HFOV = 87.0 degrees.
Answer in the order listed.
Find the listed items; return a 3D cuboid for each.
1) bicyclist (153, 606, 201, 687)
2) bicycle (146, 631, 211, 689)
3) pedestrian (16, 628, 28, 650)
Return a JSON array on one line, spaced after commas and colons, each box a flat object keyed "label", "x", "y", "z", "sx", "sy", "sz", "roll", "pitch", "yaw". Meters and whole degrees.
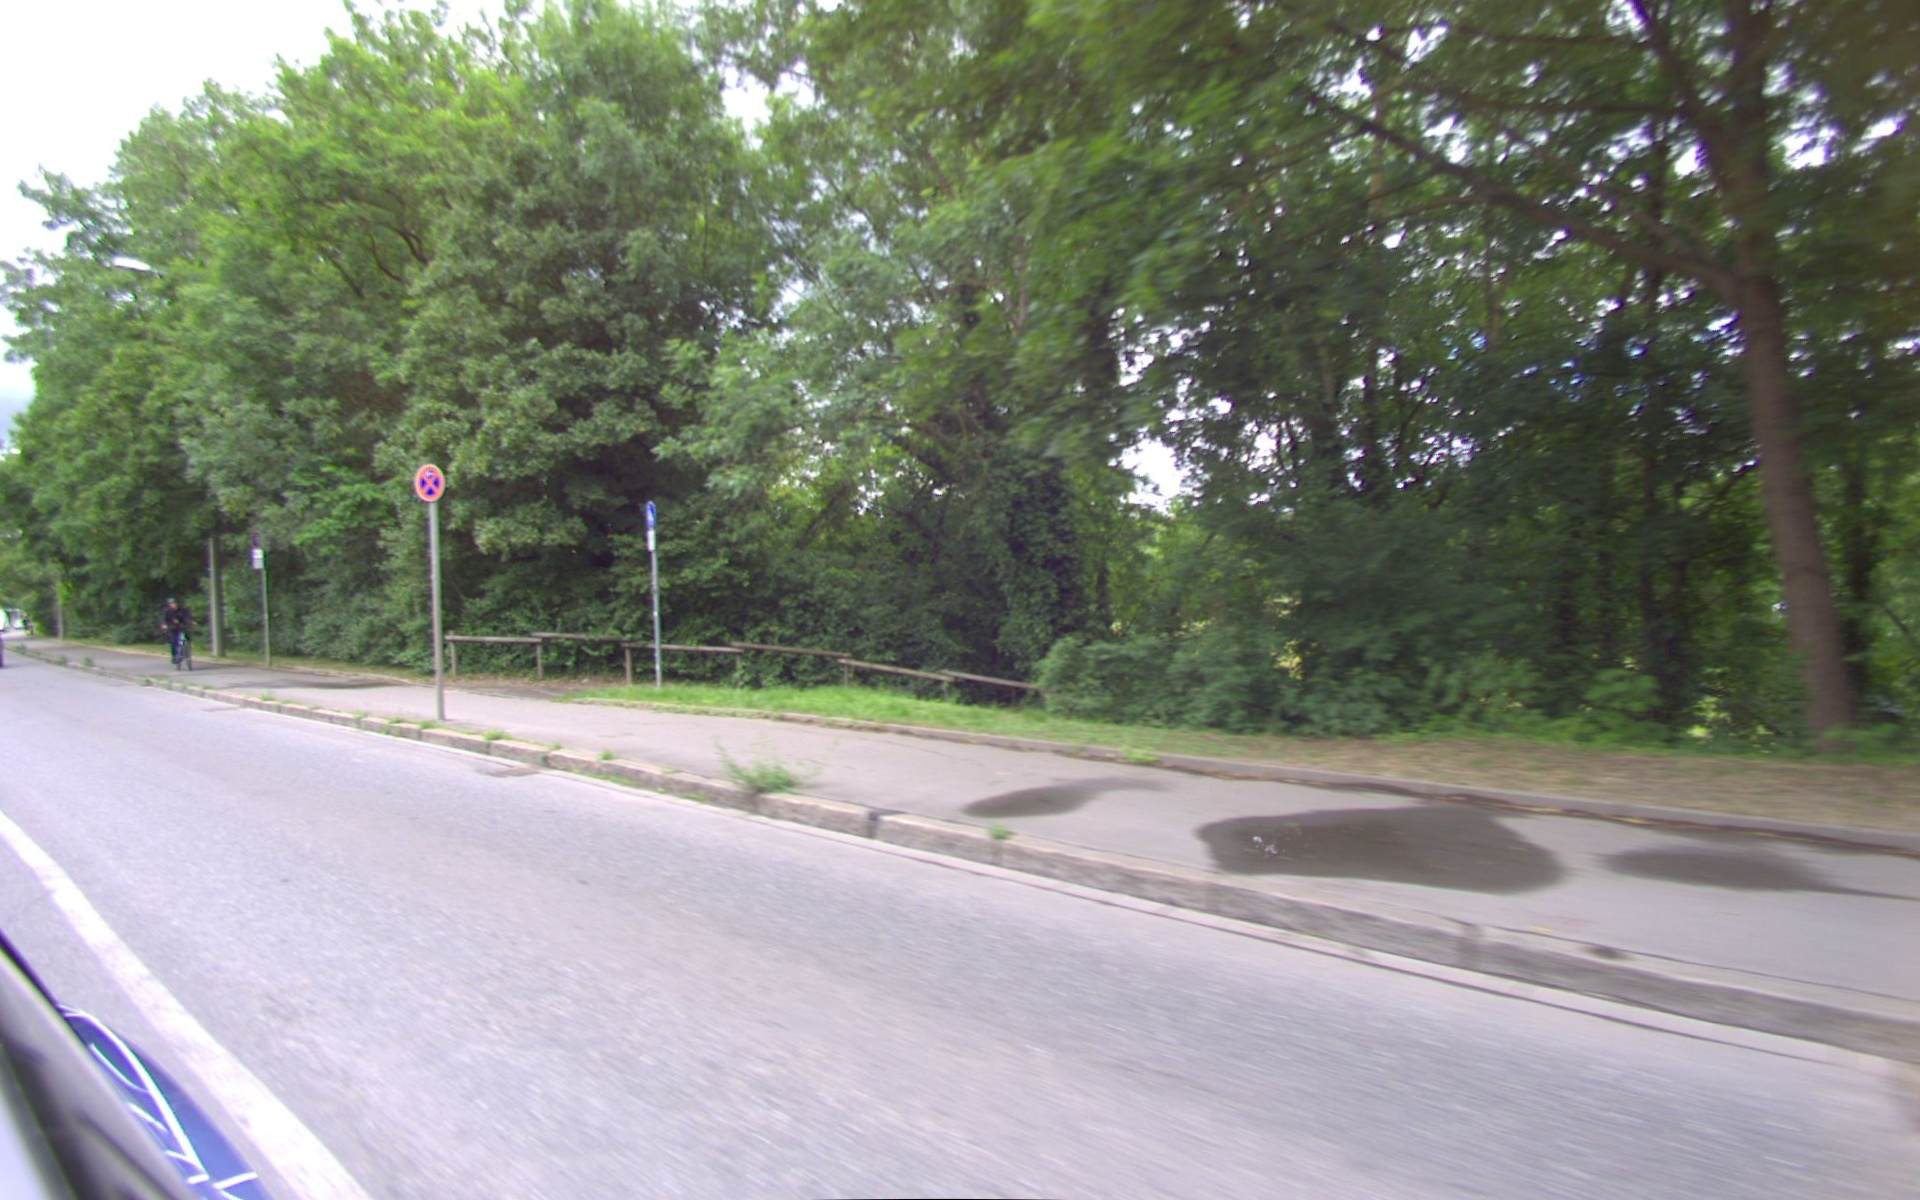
[{"label": "bicyclist", "x": -19.643, "y": 1.150, "z": 25.385, "sx": 0.834, "sy": 1.962, "sz": 0.680, "roll": -2, "pitch": 1, "yaw": 38}, {"label": "bicycle", "x": -19.596, "y": 1.473, "z": 25.359, "sx": 2.277, "sy": 1.341, "sz": 0.692, "roll": -2, "pitch": 2, "yaw": 38}, {"label": "pedestrian", "x": -77.010, "y": 3.179, "z": 83.065, "sx": 0.815, "sy": 1.727, "sz": 0.593, "roll": -2, "pitch": 1, "yaw": 44}]
